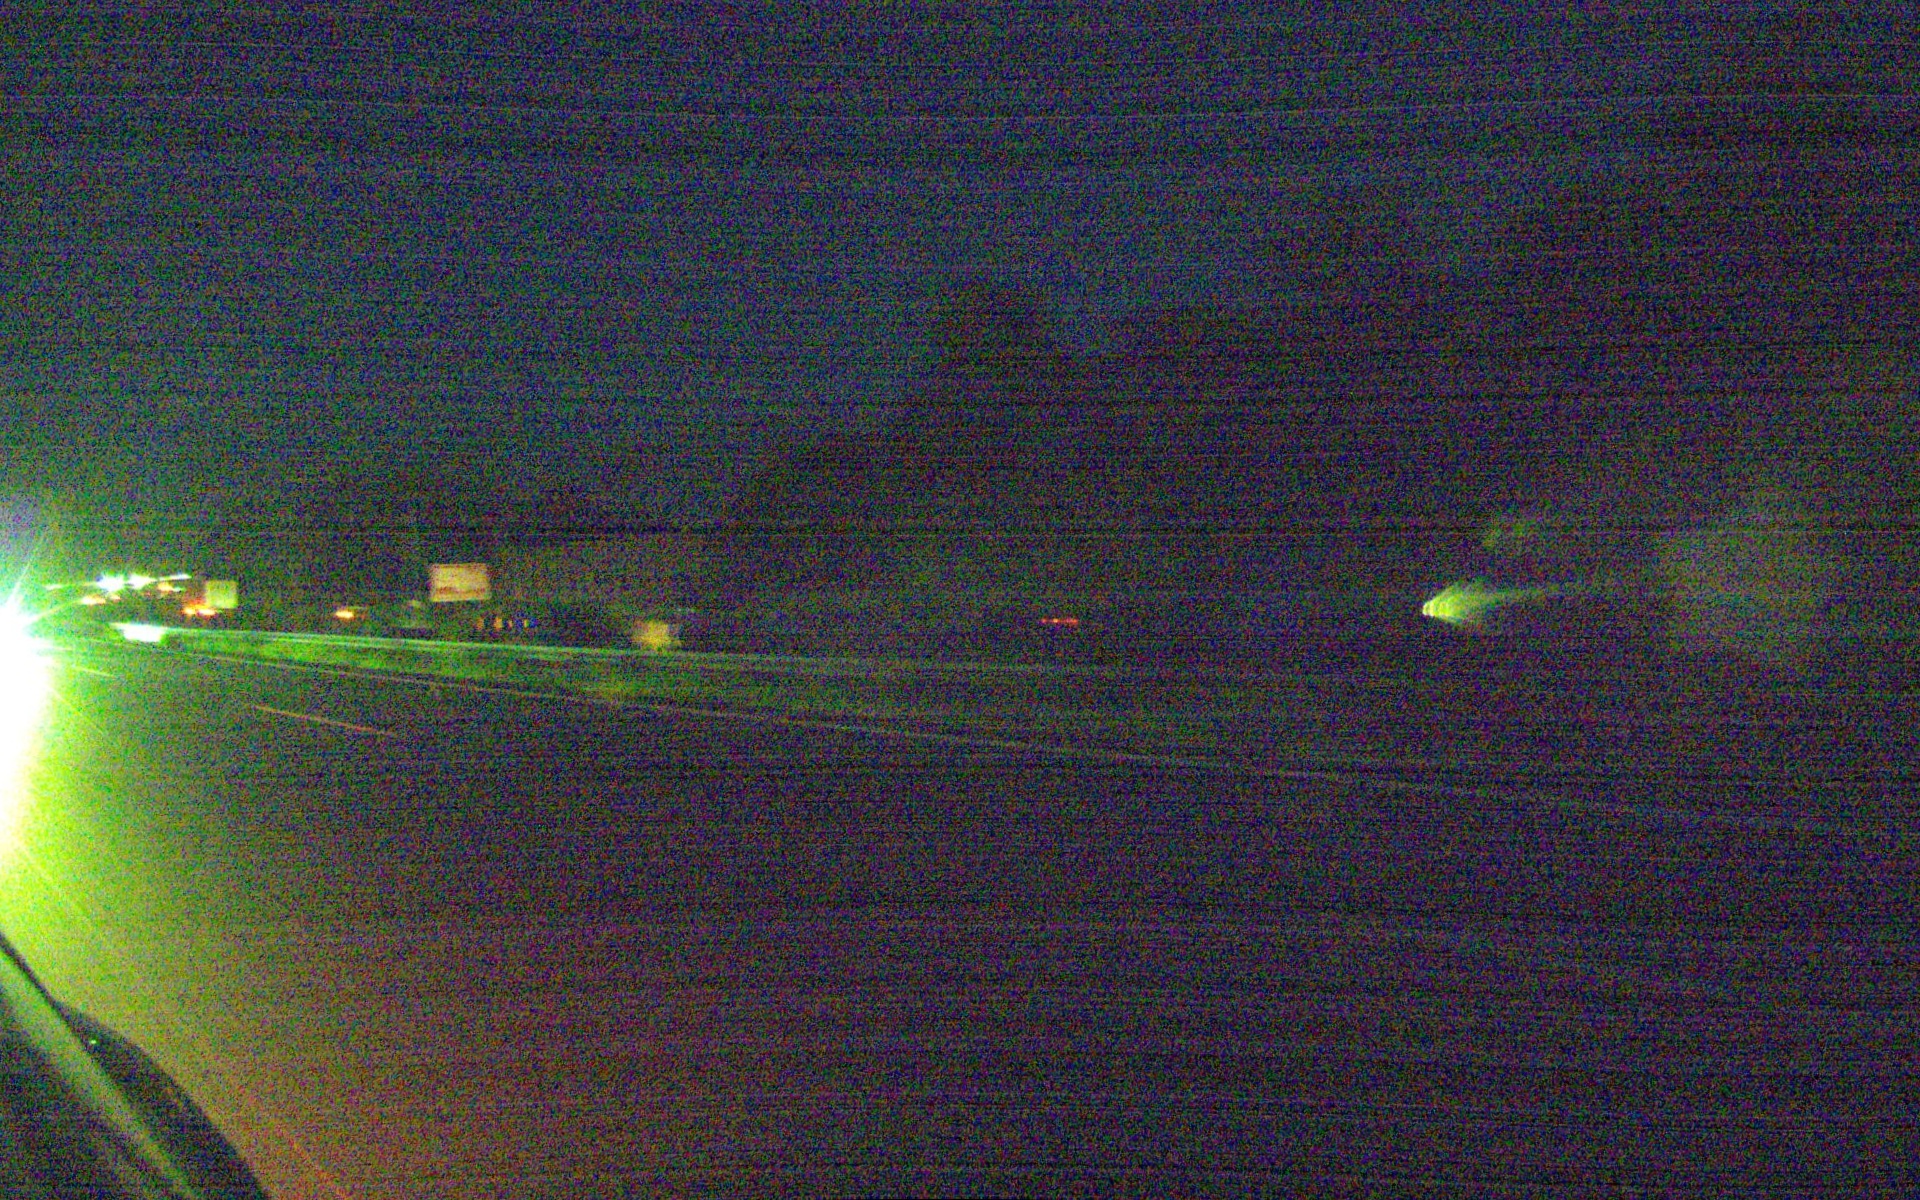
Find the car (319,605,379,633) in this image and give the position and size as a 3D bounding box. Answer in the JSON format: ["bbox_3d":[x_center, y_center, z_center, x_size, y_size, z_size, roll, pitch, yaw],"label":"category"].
[{"bbox_3d":[-42.536,1.278,70.400,4.511,1.890,2.372,-1,-1,42],"label":"car"}]

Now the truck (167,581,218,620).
[{"bbox_3d":[-85.359,0.050,112.545,5.994,4.130,3.550,0,0,43],"label":"truck"}]

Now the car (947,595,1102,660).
[{"bbox_3d":[1.821,0.761,29.165,4.072,1.739,1.974,-1,-1,39],"label":"car"}]

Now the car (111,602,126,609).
[{"bbox_3d":[-167.152,1.088,200.948,1.970,1.519,4.004,0,0,-44],"label":"car"}]

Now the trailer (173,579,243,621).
[{"bbox_3d":[-79.922,0.032,107.390,14.125,4.121,3.559,0,0,43],"label":"trailer"}]
